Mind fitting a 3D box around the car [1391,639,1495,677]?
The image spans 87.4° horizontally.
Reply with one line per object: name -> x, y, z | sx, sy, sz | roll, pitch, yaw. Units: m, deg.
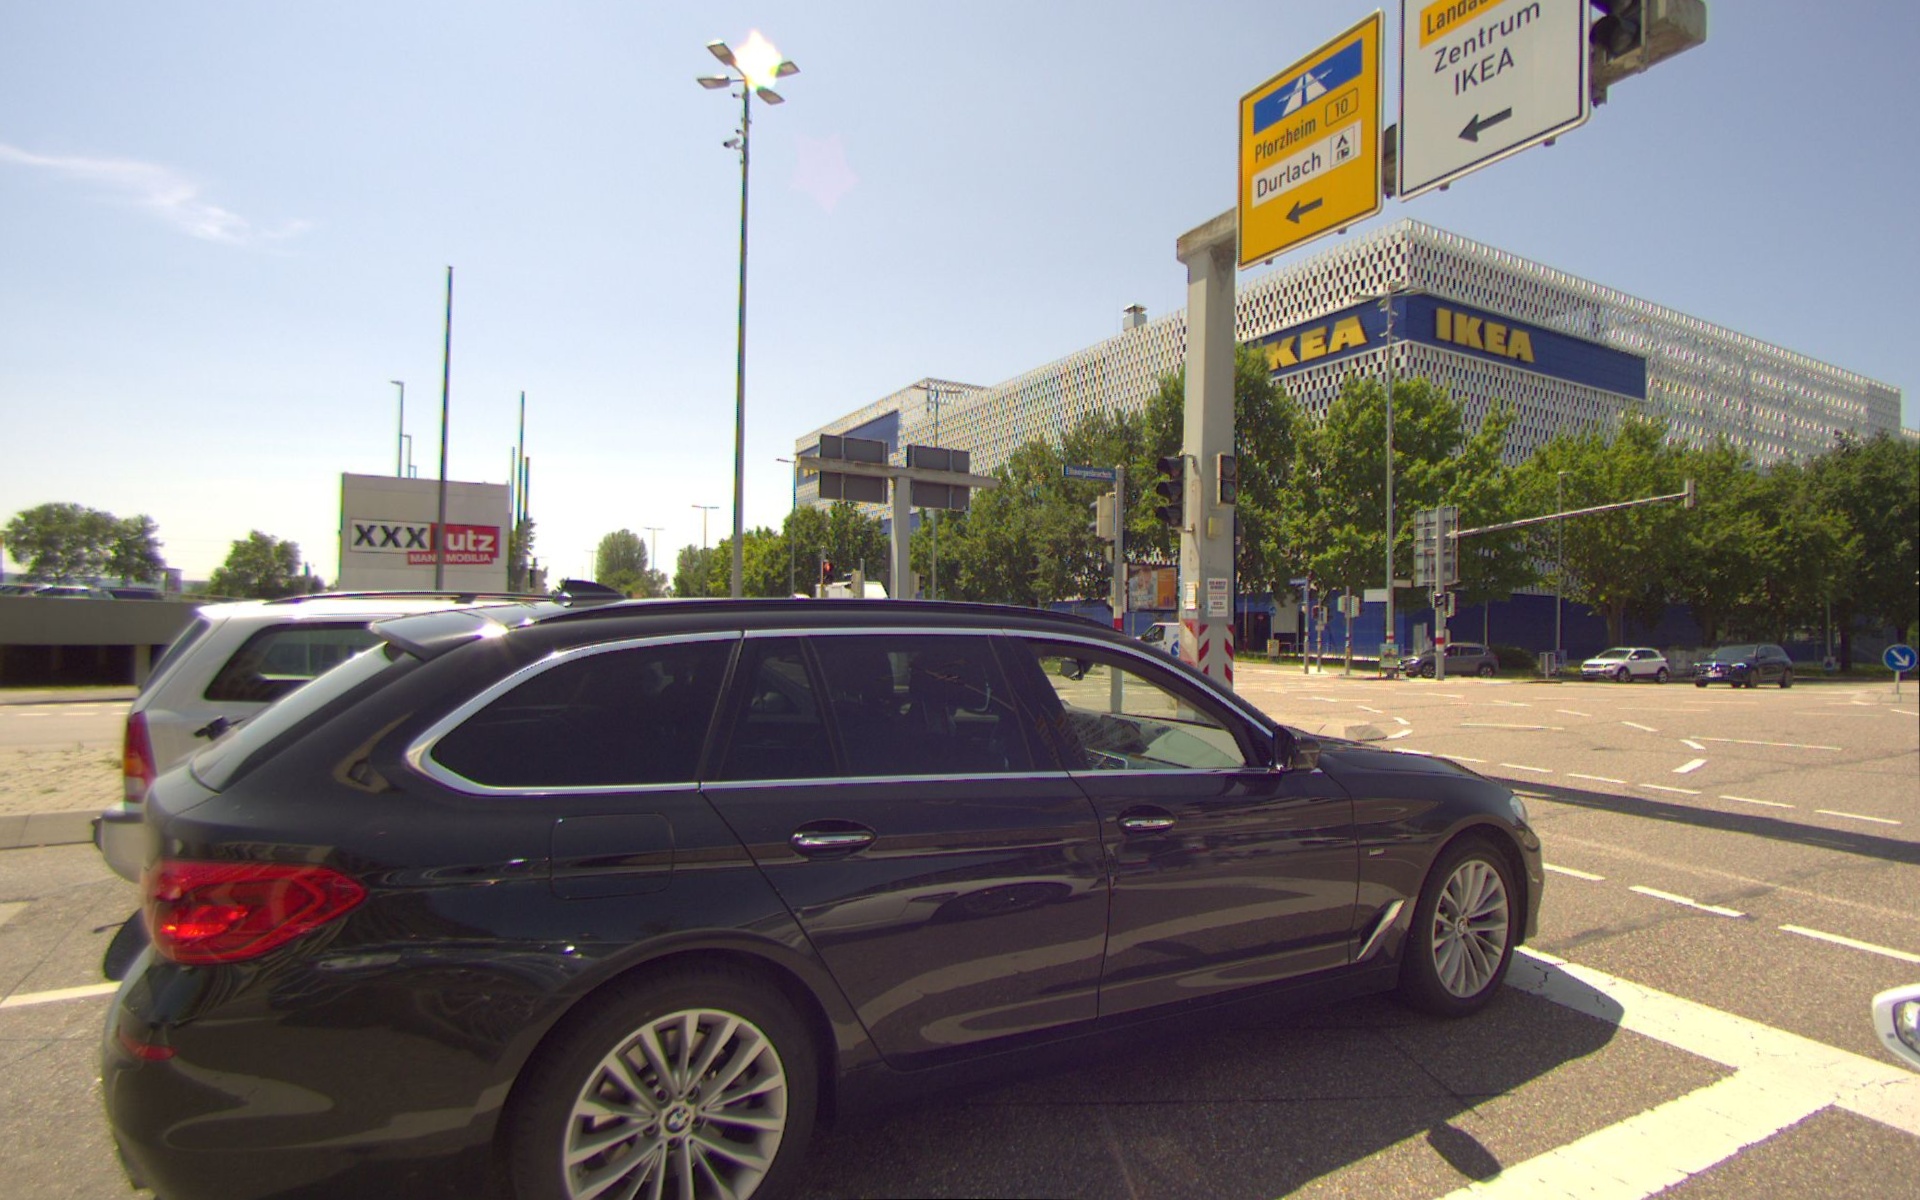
car -> 20.948, 2.526, 43.649 | 3.679, 1.553, 1.777 | 1, -3, 4

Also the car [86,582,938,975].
car -> -2.260, 0.742, 5.771 | 3.961, 1.514, 1.785 | 2, -1, -36

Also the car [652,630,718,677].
car -> -9.583, 1.821, 34.832 | 1.904, 1.528, 3.982 | 1, -2, -20

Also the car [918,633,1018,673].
car -> 0.229, 1.880, 36.657 | 1.756, 1.360, 4.262 | 1, -2, -30

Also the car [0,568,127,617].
car -> -39.356, -0.287, 44.102 | 3.953, 1.957, 1.984 | 2, -2, -30

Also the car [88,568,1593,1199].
car -> 0.104, 0.742, 3.579 | 4.570, 1.485, 1.791 | 1, -1, -31

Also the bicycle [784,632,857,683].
bicycle -> -3.505, 1.413, 25.087 | 0.987, 1.229, 2.079 | 2, -2, -35

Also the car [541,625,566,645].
car -> -36.439, 3.143, 89.974 | 1.718, 1.708, 3.642 | 2, -2, -28

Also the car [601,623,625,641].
car -> -38.976, 3.595, 112.754 | 1.906, 2.040, 3.971 | 2, -2, -28

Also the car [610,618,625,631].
car -> -55.287, 3.962, 162.074 | 1.971, 2.040, 3.979 | 2, -2, -22

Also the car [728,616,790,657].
car -> -10.640, 1.912, 52.989 | 1.975, 2.040, 4.681 | 2, -2, -27

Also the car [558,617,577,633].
car -> -71.769, 4.562, 183.700 | 2.877, 2.724, 6.126 | 2, -2, -24

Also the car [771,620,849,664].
car -> -6.803, 1.862, 45.009 | 1.973, 1.835, 5.438 | 1, -2, -25

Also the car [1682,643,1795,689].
car -> 29.333, 2.487, 37.828 | 4.444, 1.619, 1.866 | 2, -3, -30

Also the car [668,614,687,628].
car -> -42.240, 3.191, 150.171 | 1.974, 2.040, 3.972 | 2, -1, -27

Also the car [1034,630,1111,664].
car -> 4.986, 2.062, 44.987 | 1.648, 1.429, 4.215 | 2, -2, -22

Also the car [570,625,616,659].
car -> -23.099, 2.611, 63.225 | 1.815, 2.040, 3.963 | 2, -2, -34

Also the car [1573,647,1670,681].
car -> 29.601, 2.860, 44.957 | 4.011, 1.476, 1.619 | 2, -2, -22

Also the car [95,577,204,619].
car -> -40.483, -0.066, 50.301 | 3.956, 1.933, 1.983 | 2, -2, -32

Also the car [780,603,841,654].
car -> -8.257, 1.577, 55.135 | 2.032, 2.665, 4.652 | 0, -2, -26

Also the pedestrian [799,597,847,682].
pedestrian -> -3.394, 0.981, 24.939 | 0.856, 2.040, 0.899 | 1, -2, -35

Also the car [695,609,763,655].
car -> -13.870, 1.903, 60.022 | 2.542, 2.568, 6.587 | 2, -2, -26

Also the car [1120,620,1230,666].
car -> 10.003, 1.981, 46.754 | 4.673, 2.034, 1.999 | 0, -2, 24

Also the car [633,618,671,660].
car -> -15.414, 1.927, 50.222 | 1.594, 2.040, 3.863 | 1, -2, -20

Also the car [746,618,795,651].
car -> -11.910, 2.176, 62.998 | 1.974, 2.014, 3.974 | 2, -3, -26

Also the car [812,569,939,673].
car -> -3.325, 0.773, 37.512 | 2.156, 3.532, 6.875 | 0, -1, -28

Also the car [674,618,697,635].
car -> -34.403, 3.319, 125.829 | 1.974, 2.040, 3.973 | 2, -3, -27
